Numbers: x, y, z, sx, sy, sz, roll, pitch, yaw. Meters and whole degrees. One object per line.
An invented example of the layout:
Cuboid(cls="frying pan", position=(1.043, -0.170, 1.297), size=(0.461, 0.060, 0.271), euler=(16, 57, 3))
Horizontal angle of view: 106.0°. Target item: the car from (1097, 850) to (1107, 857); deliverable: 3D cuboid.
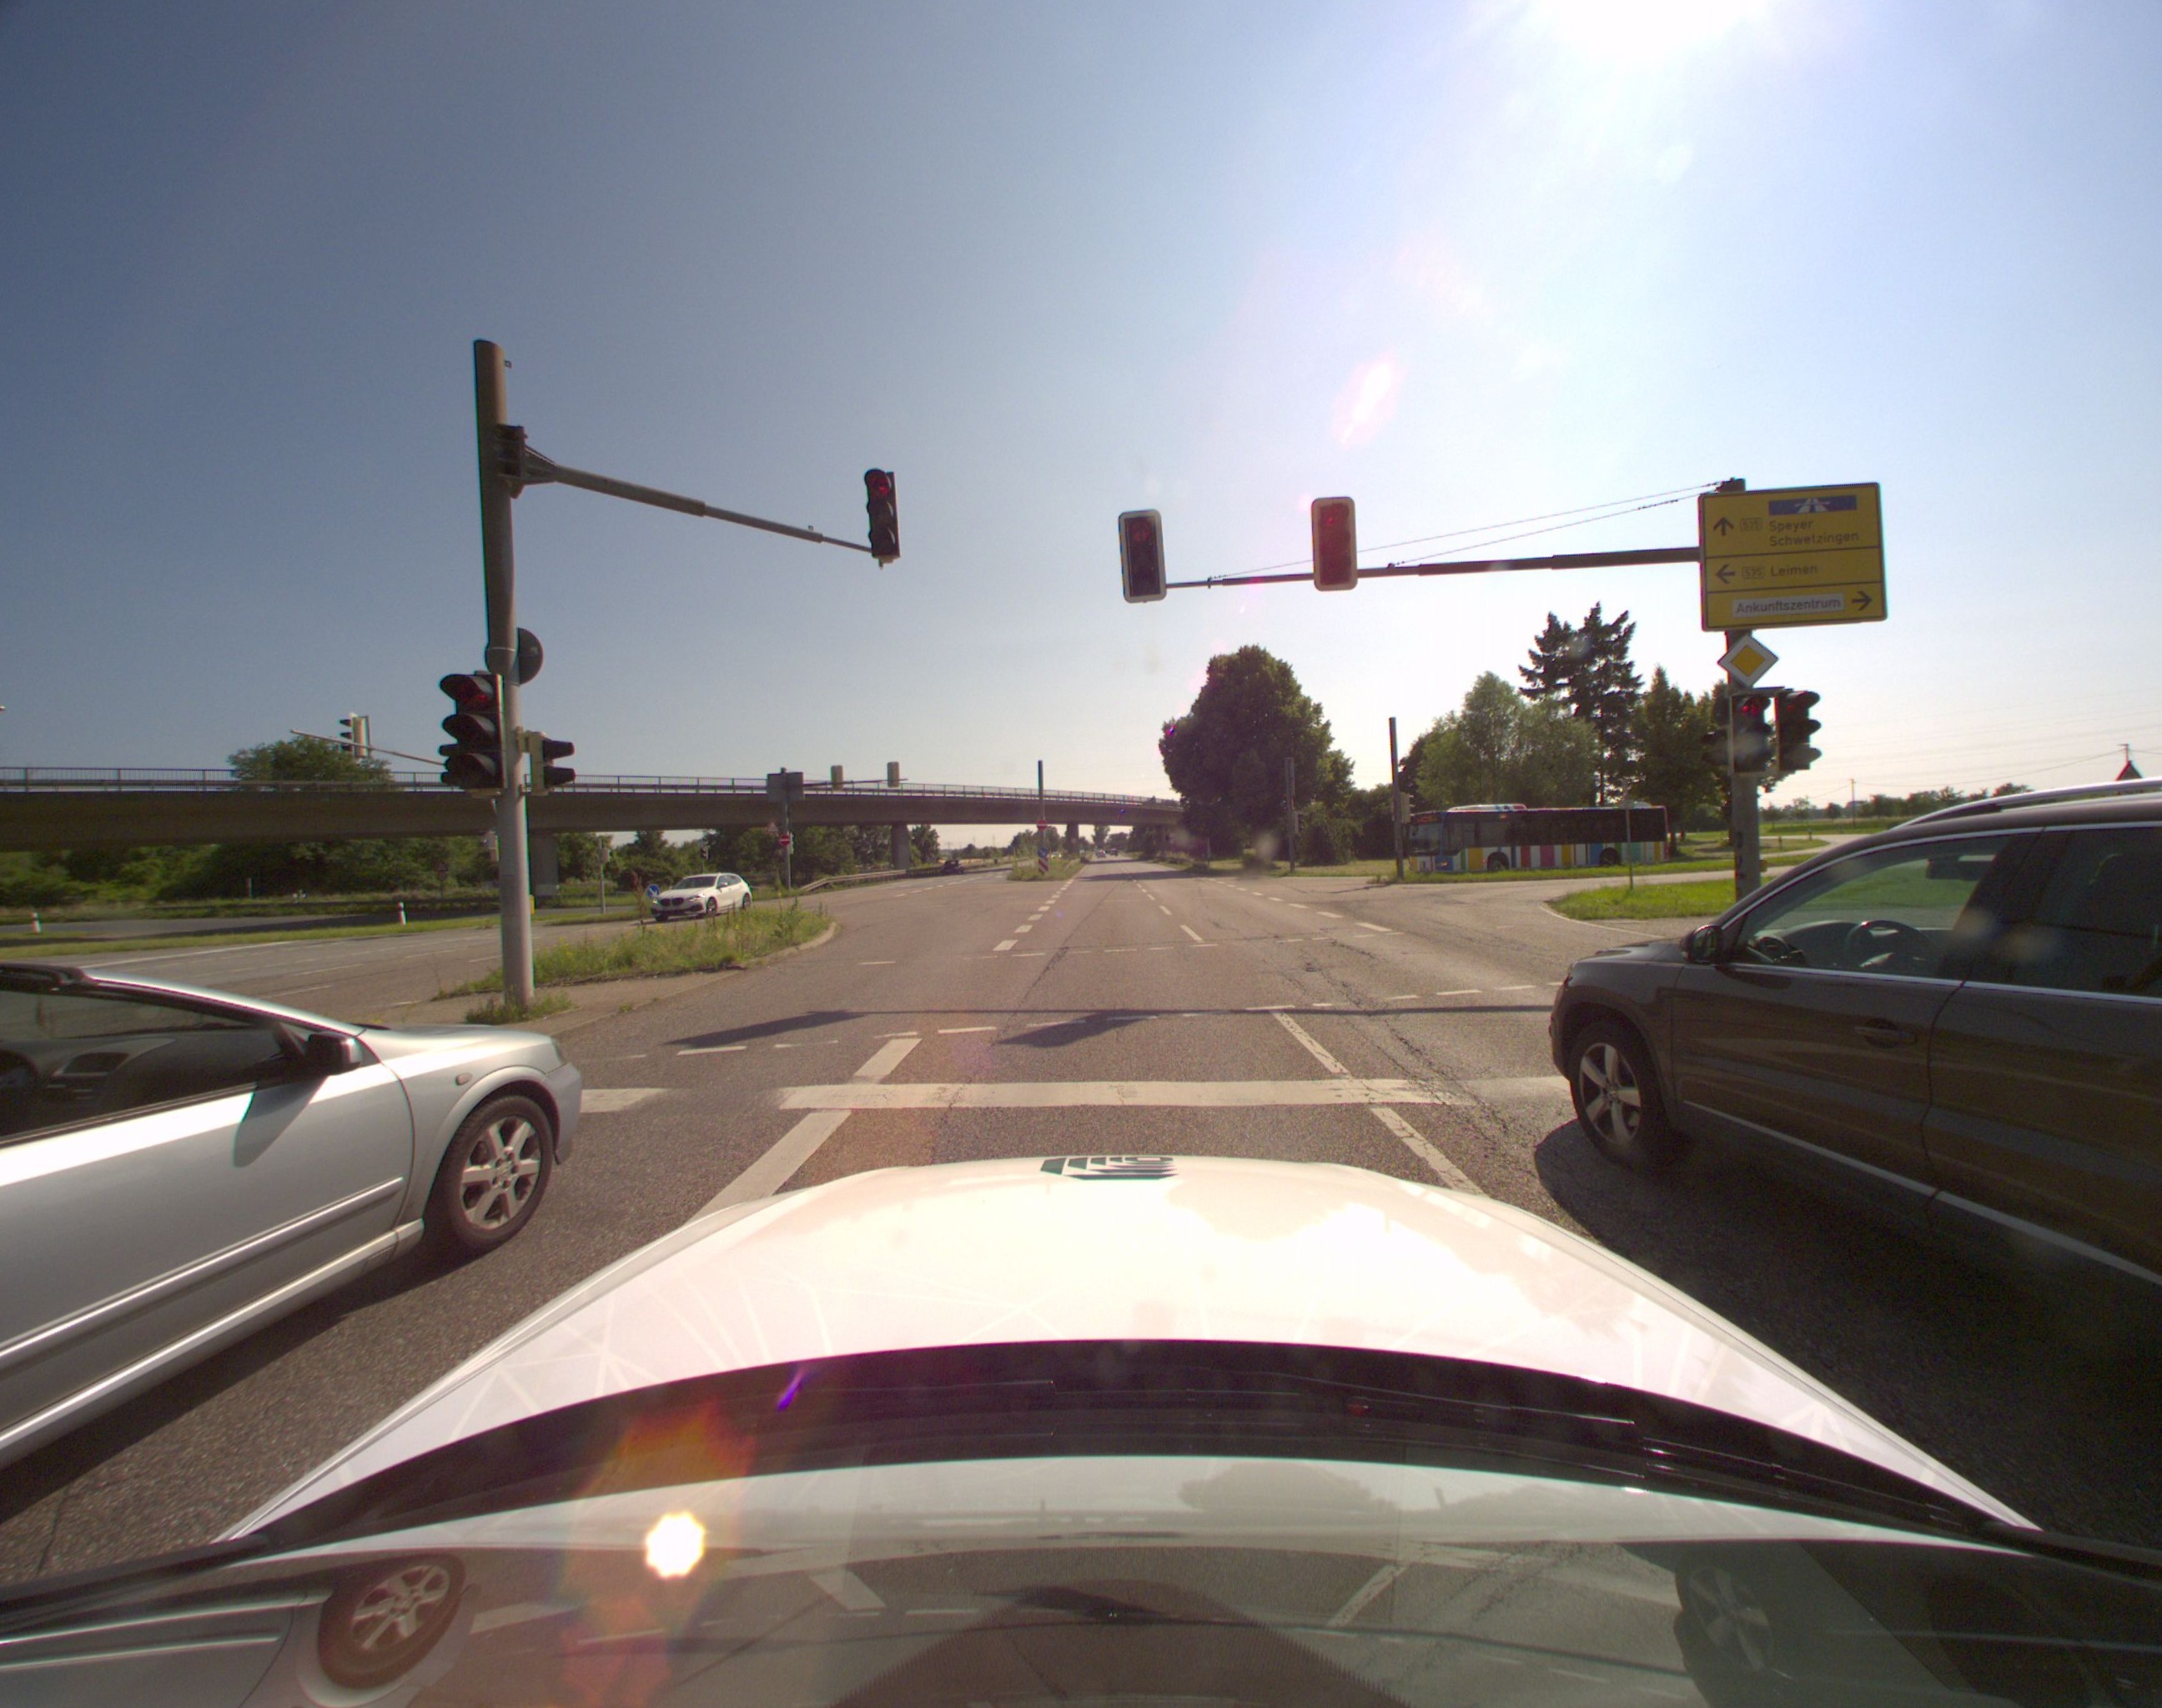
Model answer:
Cuboid(cls="car", position=(4.330, -0.121, 164.414), size=(1.843, 1.461, 4.003), euler=(-1, 0, 3))

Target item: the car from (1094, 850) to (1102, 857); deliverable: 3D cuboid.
Cuboid(cls="car", position=(4.393, -0.201, 208.217), size=(1.866, 1.640, 4.003), euler=(-1, 0, 3))

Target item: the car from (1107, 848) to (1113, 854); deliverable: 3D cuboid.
Cuboid(cls="car", position=(8.715, -0.809, 244.334), size=(1.986, 1.631, 4.001), euler=(0, -1, 1))

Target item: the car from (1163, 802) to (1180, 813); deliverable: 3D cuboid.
Cuboid(cls="car", position=(13.019, -6.674, 117.331), size=(1.307, 1.486, 3.218), euler=(-3, 0, 29))

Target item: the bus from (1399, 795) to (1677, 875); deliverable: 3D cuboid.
Cuboid(cls="bus", position=(20.317, -0.855, 36.210), size=(11.954, 2.877, 2.928), euler=(-3, 0, -14))

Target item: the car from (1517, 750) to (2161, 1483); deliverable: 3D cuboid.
Cuboid(cls="car", position=(3.326, 0.584, 2.568), size=(1.749, 1.655, 4.147), euler=(-1, 0, 1))

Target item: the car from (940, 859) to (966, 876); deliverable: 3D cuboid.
Cuboid(cls="car", position=(-11.985, 1.226, 76.459), size=(1.608, 1.442, 3.778), euler=(-5, 0, 2))

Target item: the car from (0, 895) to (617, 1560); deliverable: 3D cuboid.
Cuboid(cls="car", position=(-3.219, 0.916, 1.958), size=(1.667, 1.335, 4.100), euler=(-3, 0, 2))

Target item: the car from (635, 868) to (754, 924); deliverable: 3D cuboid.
Cuboid(cls="car", position=(-12.893, 1.342, 27.488), size=(1.876, 1.515, 4.148), euler=(-5, 0, 1))

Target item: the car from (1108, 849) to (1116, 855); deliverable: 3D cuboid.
Cuboid(cls="car", position=(8.013, -0.532, 211.783), size=(1.866, 1.640, 4.003), euler=(-2, 0, 3))

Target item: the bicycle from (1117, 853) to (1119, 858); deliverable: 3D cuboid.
Cuboid(cls="bicycle", position=(8.516, 0.355, 187.492), size=(0.598, 0.983, 2.362), euler=(-3, 0, 2))

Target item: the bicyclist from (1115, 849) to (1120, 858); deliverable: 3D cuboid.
Cuboid(cls="bicyclist", position=(8.475, -0.095, 187.887), size=(1.003, 1.886, 1.327), euler=(-3, 0, 2))
